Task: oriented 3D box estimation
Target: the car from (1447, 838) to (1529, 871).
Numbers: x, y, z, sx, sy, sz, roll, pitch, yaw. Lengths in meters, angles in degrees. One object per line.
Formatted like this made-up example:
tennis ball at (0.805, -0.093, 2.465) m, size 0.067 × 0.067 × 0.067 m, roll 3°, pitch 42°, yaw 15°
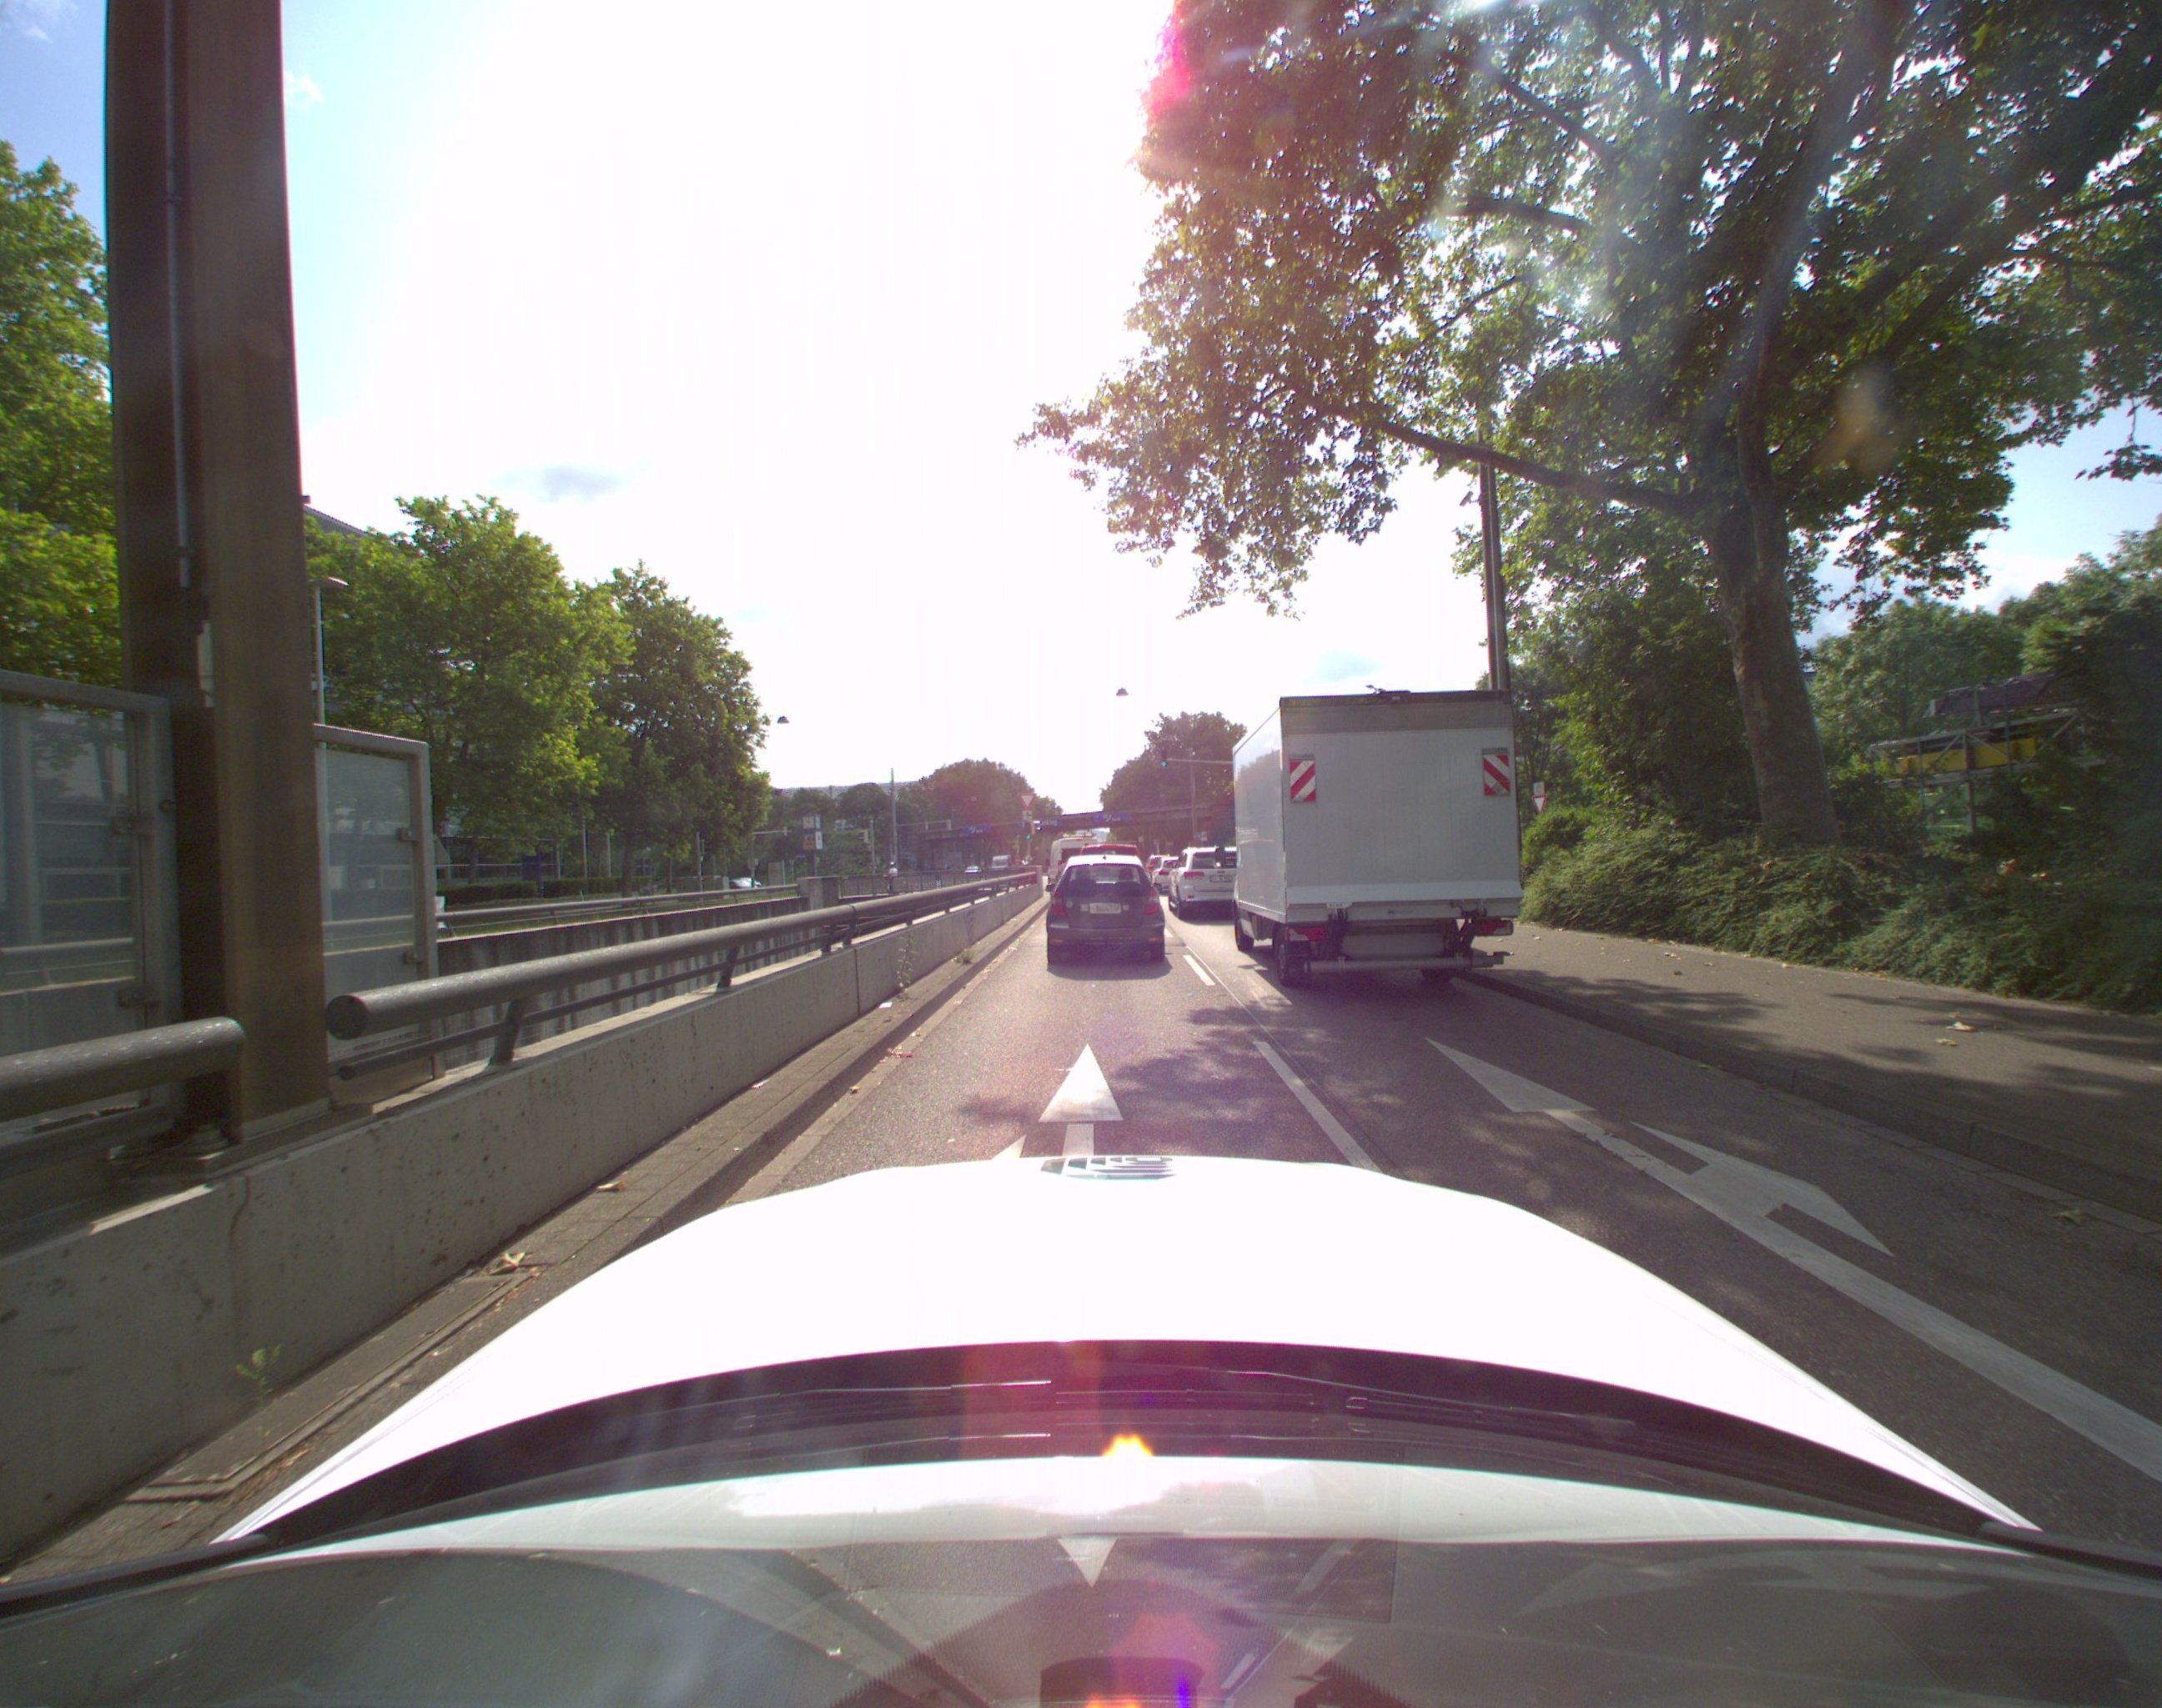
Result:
car at (23.820, 0.054, 47.666) m, size 3.972 × 1.749 × 1.989 m, roll -2°, pitch -1°, yaw 36°

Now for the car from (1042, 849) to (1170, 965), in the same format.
car at (0.415, 0.757, 13.409) m, size 1.785 × 1.608 × 3.800 m, roll -1°, pitch 0°, yaw 2°

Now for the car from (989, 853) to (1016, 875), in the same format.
car at (-9.284, 1.155, 96.919) m, size 2.249 × 2.526 × 5.630 m, roll -2°, pitch -1°, yaw 3°

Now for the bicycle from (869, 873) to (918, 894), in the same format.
bicycle at (-8.293, 1.304, 36.027) m, size 1.963 × 0.826 × 0.613 m, roll -2°, pitch -1°, yaw 4°

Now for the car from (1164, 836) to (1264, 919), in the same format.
car at (3.350, 0.598, 21.327) m, size 1.987 × 1.901 × 4.510 m, roll -1°, pitch -1°, yaw 2°

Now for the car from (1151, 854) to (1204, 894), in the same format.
car at (3.853, 0.815, 33.038) m, size 1.845 × 1.521 × 3.618 m, roll -1°, pitch -1°, yaw 2°

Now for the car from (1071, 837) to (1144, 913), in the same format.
car at (0.803, 0.589, 24.458) m, size 1.948 × 2.017 × 4.678 m, roll -1°, pitch -1°, yaw 2°

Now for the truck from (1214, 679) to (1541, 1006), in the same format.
truck at (3.347, -0.083, 10.901) m, size 2.437 × 3.121 × 6.033 m, roll -1°, pitch -1°, yaw 3°

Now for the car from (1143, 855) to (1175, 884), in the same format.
car at (4.369, 0.890, 45.927) m, size 1.538 × 1.521 × 3.618 m, roll -1°, pitch -1°, yaw 2°

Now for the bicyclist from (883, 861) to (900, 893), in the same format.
bicyclist at (-8.378, 1.014, 36.032) m, size 0.507 × 1.404 × 0.627 m, roll -2°, pitch -1°, yaw 6°

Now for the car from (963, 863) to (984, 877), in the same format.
car at (-12.490, 1.837, 94.490) m, size 1.697 × 1.476 × 4.000 m, roll -5°, pitch -1°, yaw 1°

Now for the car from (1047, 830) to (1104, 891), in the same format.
car at (-0.340, 0.335, 39.460) m, size 2.195 × 2.726 × 4.919 m, roll -1°, pitch -1°, yaw -7°
